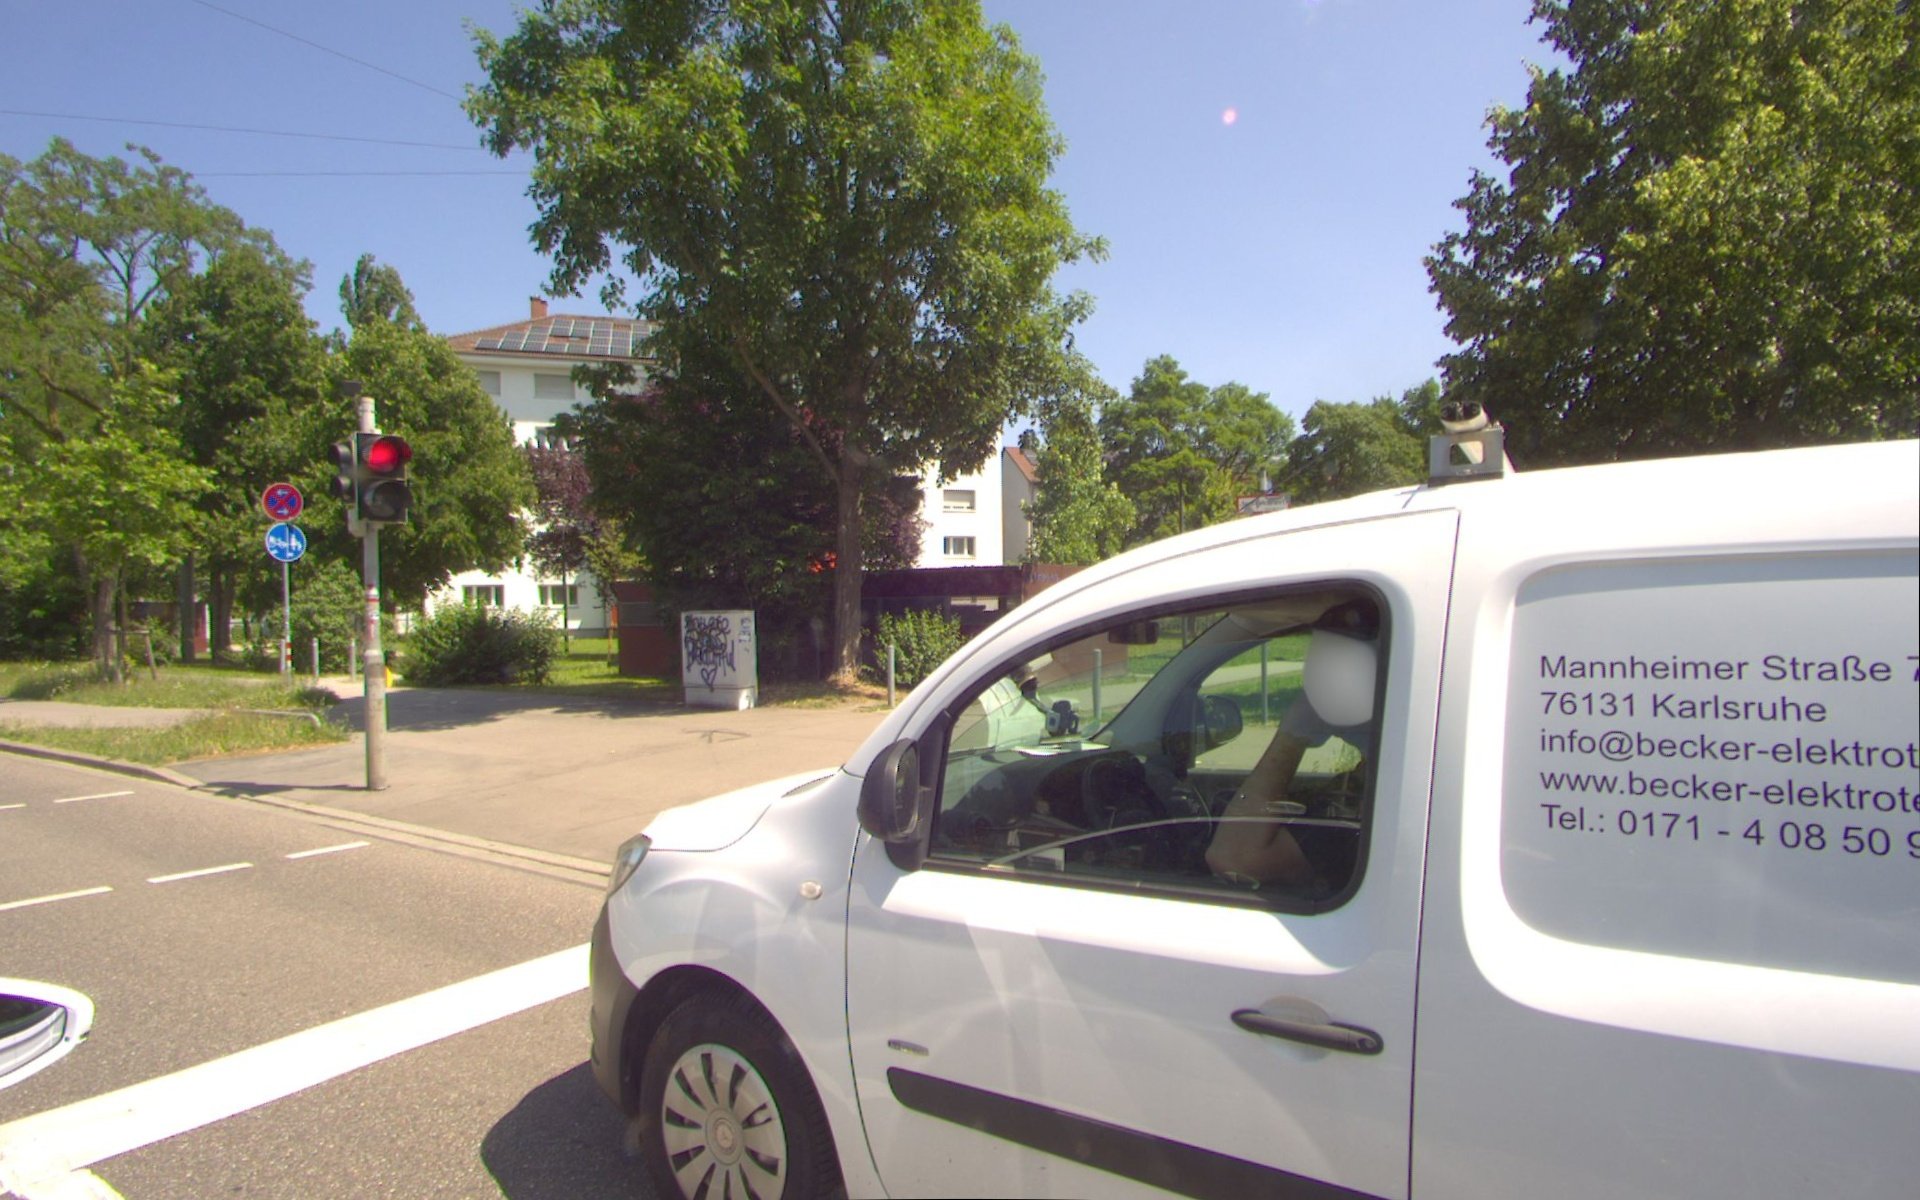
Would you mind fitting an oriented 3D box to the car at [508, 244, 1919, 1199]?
[{"bbox_3d":[1.120,0.572,2.232,4.393,1.906,1.820,-1,-1,33],"label":"car"}]
